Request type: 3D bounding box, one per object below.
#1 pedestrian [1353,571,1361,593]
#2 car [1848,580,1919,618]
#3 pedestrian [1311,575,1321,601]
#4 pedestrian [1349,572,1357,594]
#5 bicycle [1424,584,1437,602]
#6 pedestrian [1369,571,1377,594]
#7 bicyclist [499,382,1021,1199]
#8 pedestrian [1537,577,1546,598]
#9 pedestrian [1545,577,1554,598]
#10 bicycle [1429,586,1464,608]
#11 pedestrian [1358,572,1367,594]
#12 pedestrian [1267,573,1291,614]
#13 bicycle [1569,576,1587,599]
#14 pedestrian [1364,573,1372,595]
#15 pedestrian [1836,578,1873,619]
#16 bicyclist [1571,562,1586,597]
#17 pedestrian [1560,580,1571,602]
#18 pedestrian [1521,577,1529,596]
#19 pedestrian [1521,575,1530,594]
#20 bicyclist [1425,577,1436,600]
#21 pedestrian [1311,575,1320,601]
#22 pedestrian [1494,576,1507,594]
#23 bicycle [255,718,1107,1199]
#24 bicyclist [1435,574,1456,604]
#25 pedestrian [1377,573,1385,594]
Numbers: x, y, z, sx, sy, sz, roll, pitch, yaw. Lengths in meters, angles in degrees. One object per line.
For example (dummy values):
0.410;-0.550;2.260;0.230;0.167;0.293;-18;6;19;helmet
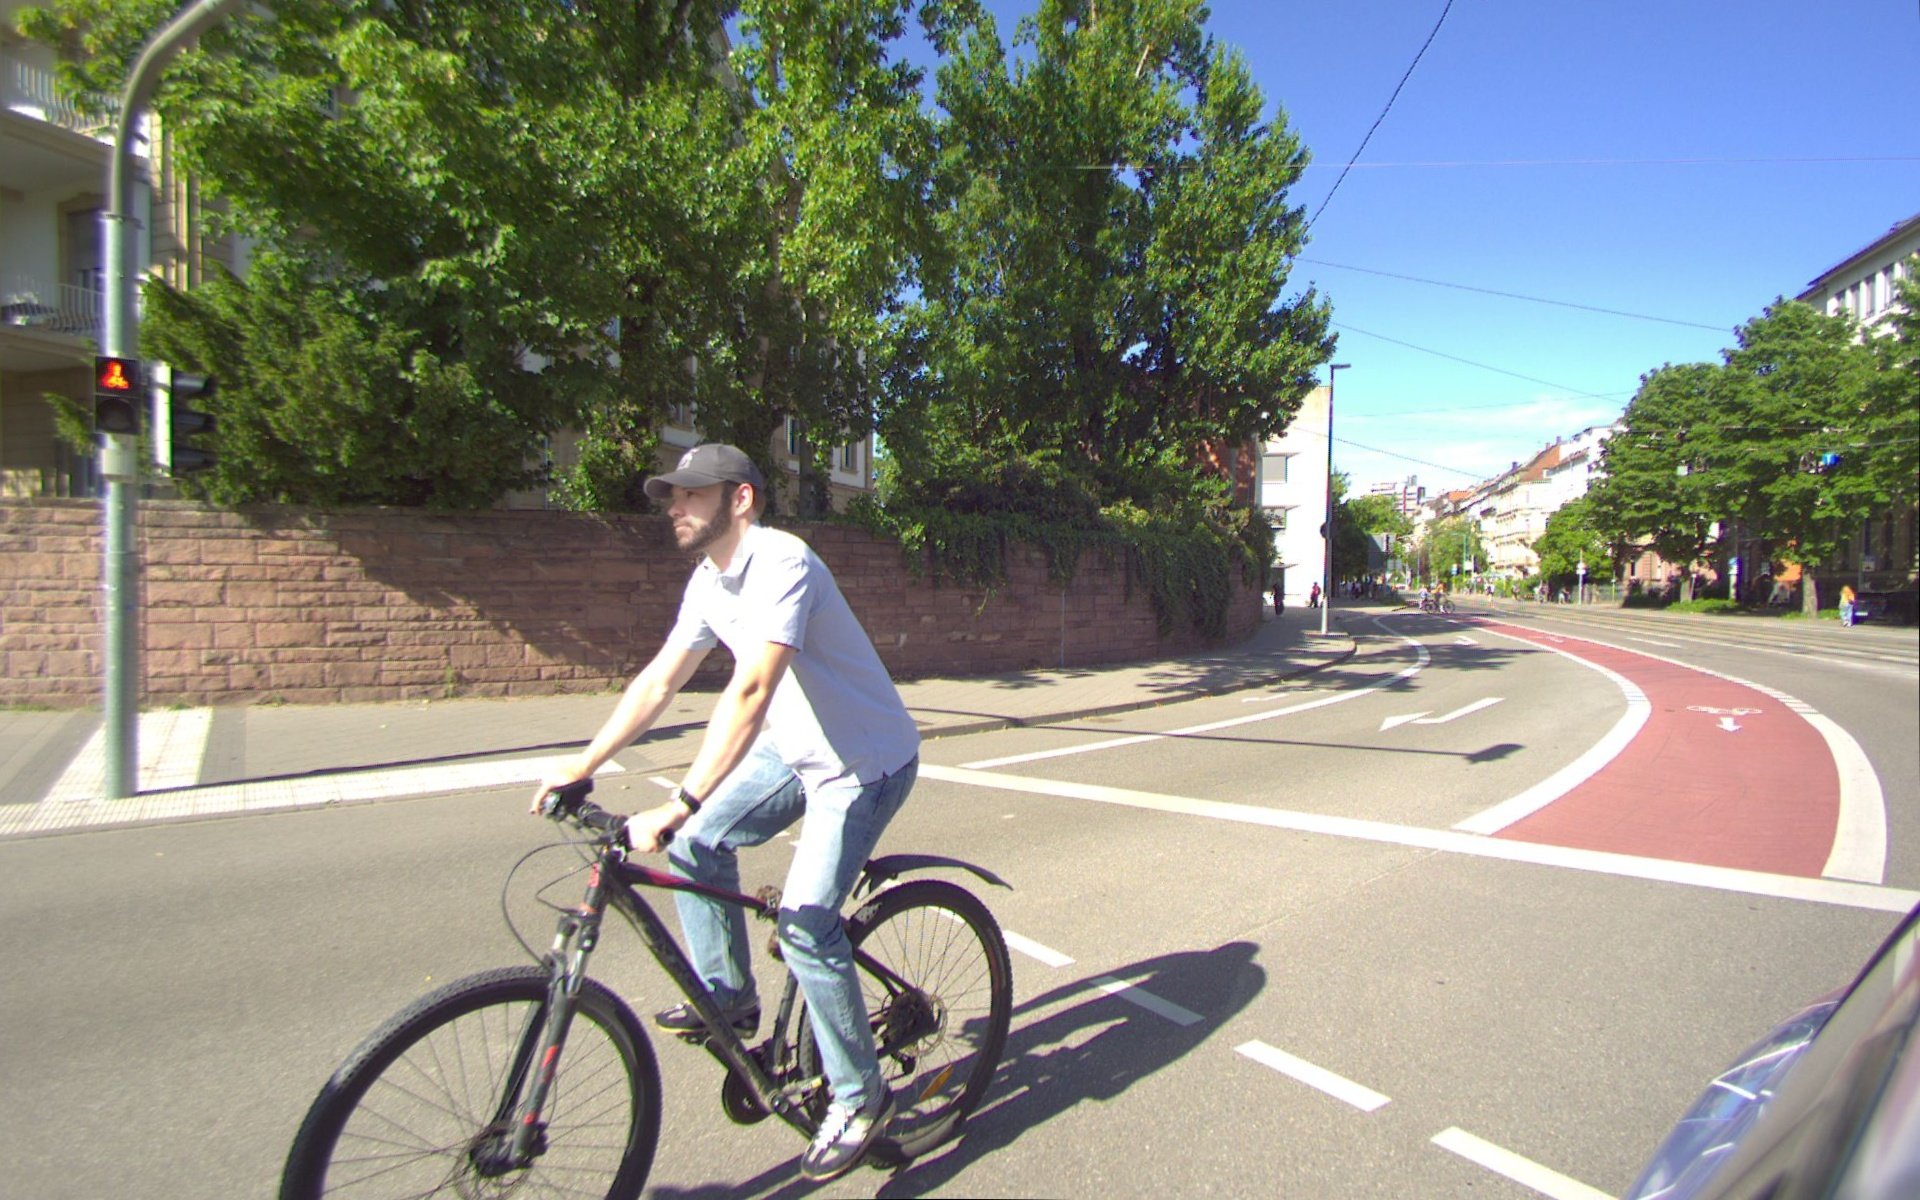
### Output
33.455;-1.484;85.234;0.580;1.828;0.579;1;1;19;pedestrian
40.892;-0.056;43.455;4.026;1.593;1.924;0;1;-7;car
21.704;-0.758;61.707;0.513;1.586;0.531;1;1;20;pedestrian
32.656;-1.429;84.009;0.580;1.828;0.542;1;1;19;pedestrian
30.635;-0.465;65.896;0.658;1.166;1.659;-1;2;24;bicycle
34.023;-1.440;83.423;0.580;1.828;0.517;1;1;19;pedestrian
-0.480;0.500;2.393;0.995;1.798;0.752;-1;1;-34;bicyclist
54.167;-1.154;94.273;0.572;1.879;0.680;1;1;21;pedestrian
54.795;-1.161;94.070;0.572;1.879;0.680;1;1;21;pedestrian
26.780;-0.192;55.693;1.574;1.166;0.742;-1;1;13;bicycle
33.324;-1.436;83.778;0.580;1.828;0.542;1;1;19;pedestrian
13.904;-0.278;44.114;0.928;1.698;0.949;3;3;19;pedestrian
54.783;-1.143;89.662;0.998;1.910;3.843;0;2;37;bicycle
34.256;-1.316;84.973;0.580;1.828;0.579;1;1;19;pedestrian
38.218;-0.059;43.258;0.761;1.691;1.028;3;-2;16;pedestrian
54.689;-1.841;89.545;0.998;3.012;1.455;0;1;37;bicyclist
50.706;-0.747;84.720;0.571;1.879;0.651;1;1;16;pedestrian
55.713;-1.371;99.768;0.572;1.879;0.680;1;1;21;pedestrian
55.825;-1.505;99.870;0.720;1.879;0.649;1;1;23;pedestrian
30.623;-0.732;65.874;0.658;1.479;0.617;-1;1;24;bicyclist
21.455;-0.732;61.062;0.513;1.586;0.531;1;1;20;pedestrian
51.729;-1.431;96.879;0.914;1.760;0.679;1;1;1;pedestrian
-0.532;0.925;2.351;1.795;1.090;0.613;-1;1;-34;bicycle
26.709;-0.619;55.701;0.866;1.602;0.742;-1;1;13;bicyclist
34.623;-1.384;83.258;0.580;1.749;0.517;1;1;19;pedestrian
